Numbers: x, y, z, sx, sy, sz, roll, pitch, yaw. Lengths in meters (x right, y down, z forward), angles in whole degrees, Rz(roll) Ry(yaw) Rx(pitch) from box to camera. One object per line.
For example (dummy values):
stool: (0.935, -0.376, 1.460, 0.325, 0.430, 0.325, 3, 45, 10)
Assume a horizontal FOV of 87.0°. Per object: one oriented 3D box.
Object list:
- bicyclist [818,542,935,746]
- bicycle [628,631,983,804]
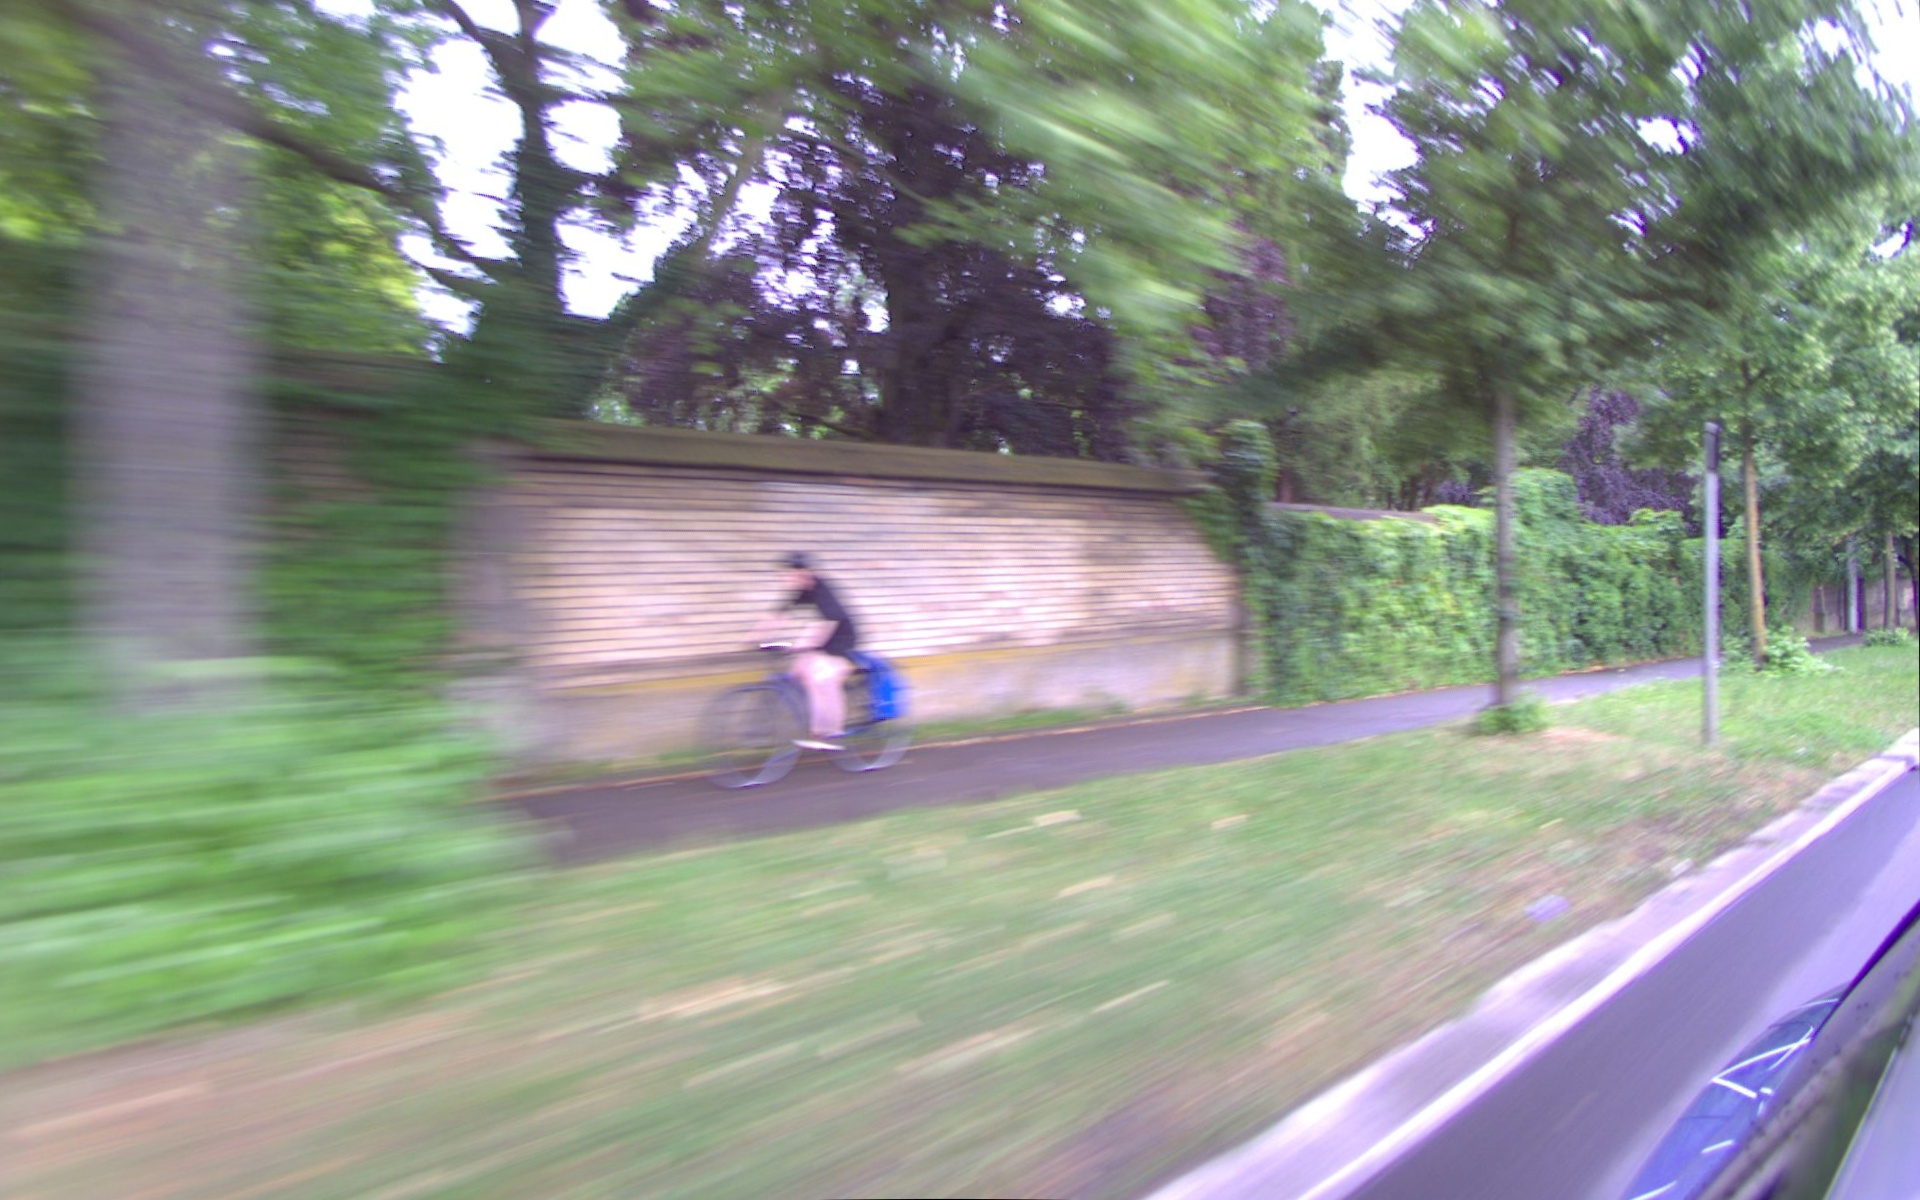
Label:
bicyclist: (-0.609, 0.295, 7.367, 0.654, 1.407, 0.536, 0, 1, -37)
bicycle: (-0.991, 0.741, 7.094, 2.502, 0.960, 0.544, 0, 1, -37)
